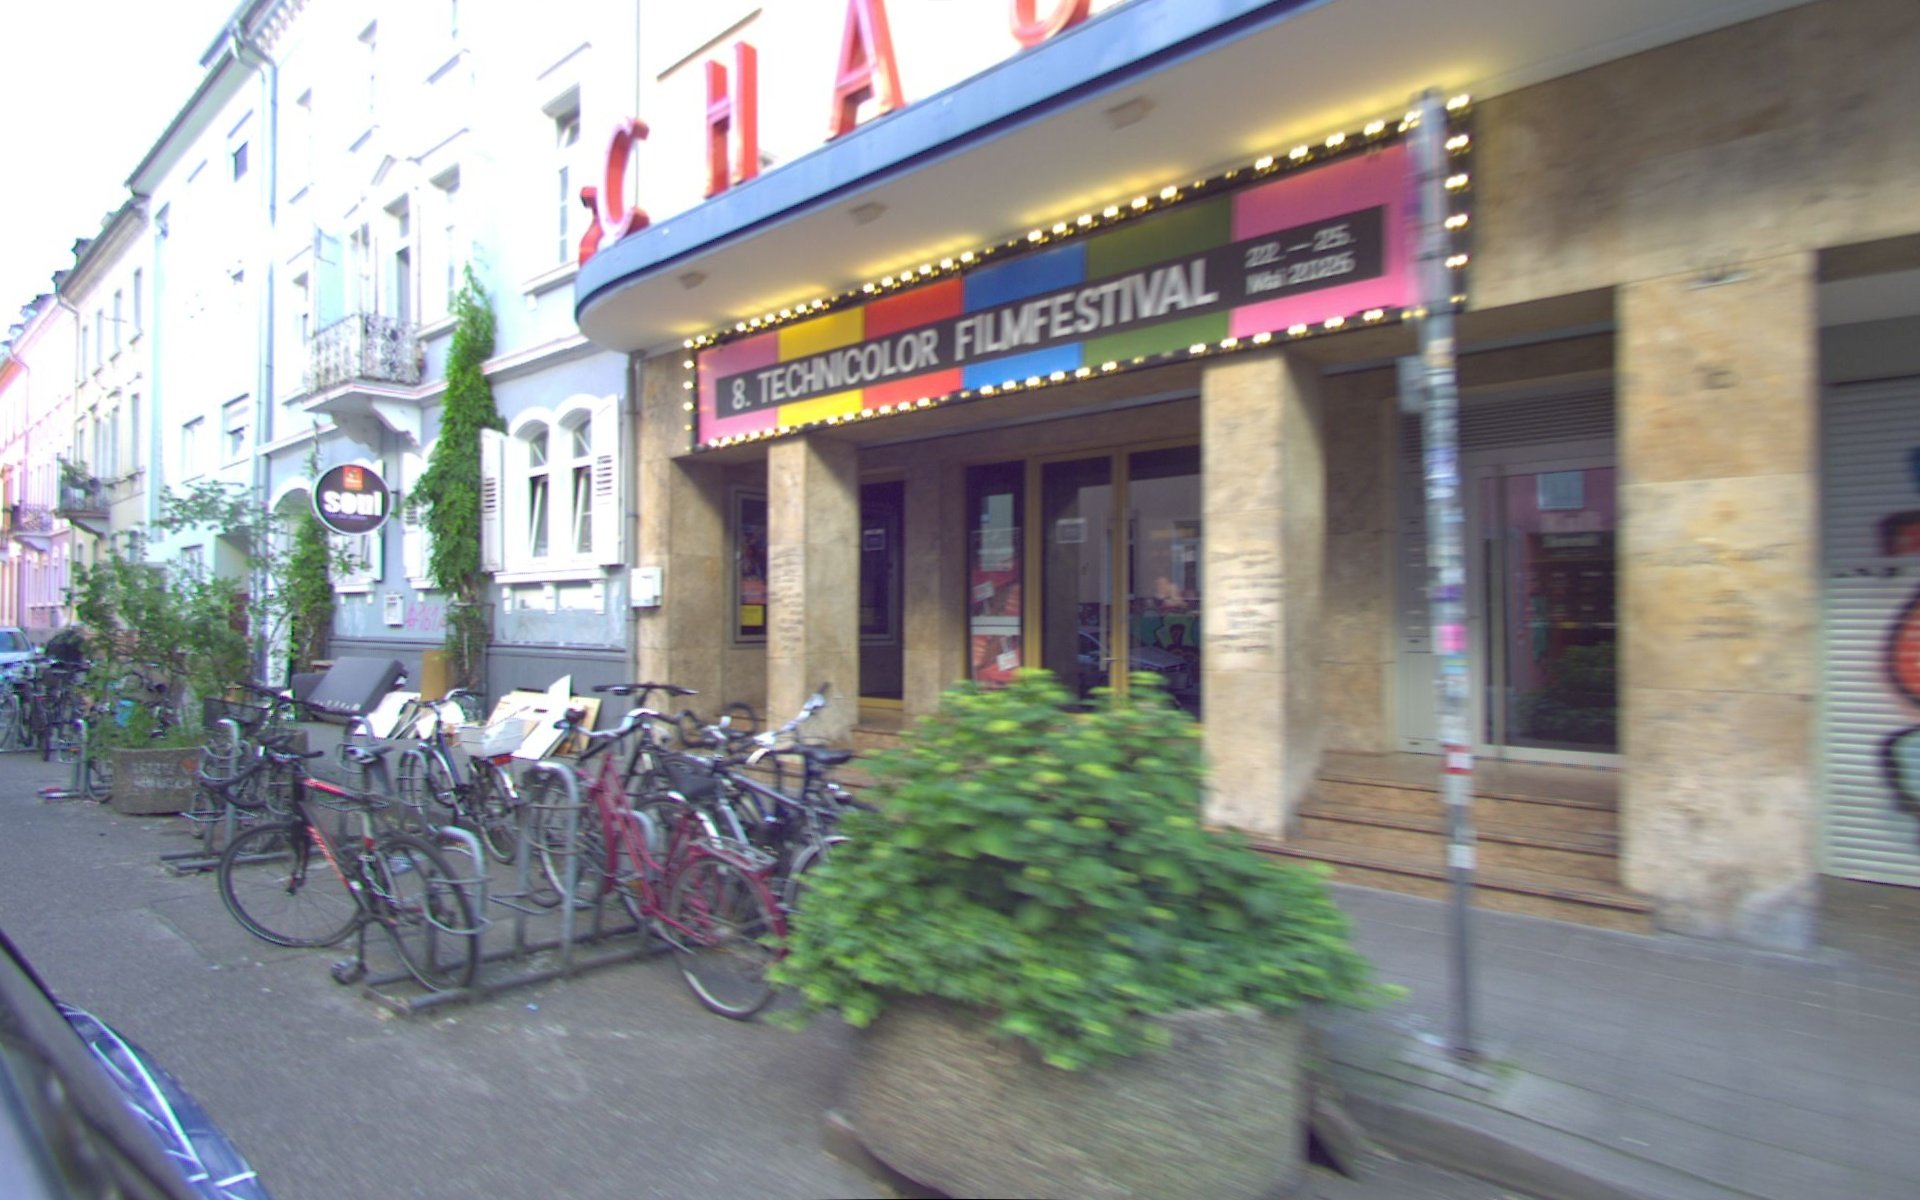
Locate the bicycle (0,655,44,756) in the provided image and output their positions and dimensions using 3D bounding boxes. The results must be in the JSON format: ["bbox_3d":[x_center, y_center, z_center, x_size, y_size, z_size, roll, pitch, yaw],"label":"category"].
[{"bbox_3d":[-11.651,1.254,12.324,1.828,1.114,0.494,-1,-2,41],"label":"bicycle"}]

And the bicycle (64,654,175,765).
[{"bbox_3d":[-9.760,1.242,11.754,0.919,1.184,0.805,-1,-2,39],"label":"bicycle"}]

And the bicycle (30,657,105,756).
[{"bbox_3d":[-11.300,1.309,12.788,1.930,1.114,0.439,-1,-2,41],"label":"bicycle"}]

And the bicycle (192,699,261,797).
[{"bbox_3d":[-7.141,1.410,9.836,1.299,0.824,0.253,-1,-2,42],"label":"bicycle"}]

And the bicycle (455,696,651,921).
[{"bbox_3d":[-2.319,1.113,5.707,1.316,1.055,0.413,-1,-1,38],"label":"bicycle"}]

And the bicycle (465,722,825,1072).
[{"bbox_3d":[-1.388,1.113,4.231,1.862,1.055,0.438,-1,-1,37],"label":"bicycle"}]

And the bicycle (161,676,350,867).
[{"bbox_3d":[-4.977,1.126,7.102,1.879,1.102,0.541,-1,-1,37],"label":"bicycle"}]

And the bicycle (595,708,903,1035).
[{"bbox_3d":[-1.032,1.150,4.692,1.667,1.182,0.395,-1,-1,37],"label":"bicycle"}]

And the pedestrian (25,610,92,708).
[{"bbox_3d":[-16.292,1.051,18.305,0.703,1.721,0.674,0,-1,-23],"label":"pedestrian"}]

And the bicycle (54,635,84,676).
[{"bbox_3d":[-24.802,1.528,28.162,1.493,1.110,0.413,-1,-2,41],"label":"bicycle"}]

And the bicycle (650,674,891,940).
[{"bbox_3d":[-1.037,1.014,5.336,1.487,1.182,0.336,-1,-1,37],"label":"bicycle"}]

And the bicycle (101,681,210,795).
[{"bbox_3d":[-7.851,1.305,9.857,1.571,0.951,0.548,-1,-3,42],"label":"bicycle"}]

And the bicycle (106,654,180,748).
[{"bbox_3d":[-10.732,1.294,13.275,1.697,1.114,0.439,-1,-2,41],"label":"bicycle"}]

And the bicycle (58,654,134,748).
[{"bbox_3d":[-11.406,1.298,13.342,1.872,1.114,0.439,-1,-2,40],"label":"bicycle"}]

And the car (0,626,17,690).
[{"bbox_3d":[-23.633,1.325,23.706,3.997,1.463,1.771,-1,-3,40],"label":"car"}]

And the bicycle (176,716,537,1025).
[{"bbox_3d":[-2.650,1.082,4.392,1.740,1.055,0.458,-1,-1,25],"label":"bicycle"}]

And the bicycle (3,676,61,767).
[{"bbox_3d":[-10.398,1.335,11.331,1.289,0.923,0.318,-1,-3,42],"label":"bicycle"}]

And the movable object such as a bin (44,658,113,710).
[{"bbox_3d":[-16.381,1.557,18.822,0.832,0.904,0.587,0,-1,-25],"label":"movable object such as a bin"}]

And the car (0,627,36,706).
[{"bbox_3d":[-19.579,1.269,19.993,4.035,1.466,1.662,-2,-4,44],"label":"car"}]

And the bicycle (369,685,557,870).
[{"bbox_3d":[-3.397,1.149,6.883,1.407,1.053,0.568,-1,-2,37],"label":"bicycle"}]

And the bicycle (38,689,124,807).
[{"bbox_3d":[-7.978,1.304,9.169,1.392,0.923,0.386,-1,-3,42],"label":"bicycle"}]
